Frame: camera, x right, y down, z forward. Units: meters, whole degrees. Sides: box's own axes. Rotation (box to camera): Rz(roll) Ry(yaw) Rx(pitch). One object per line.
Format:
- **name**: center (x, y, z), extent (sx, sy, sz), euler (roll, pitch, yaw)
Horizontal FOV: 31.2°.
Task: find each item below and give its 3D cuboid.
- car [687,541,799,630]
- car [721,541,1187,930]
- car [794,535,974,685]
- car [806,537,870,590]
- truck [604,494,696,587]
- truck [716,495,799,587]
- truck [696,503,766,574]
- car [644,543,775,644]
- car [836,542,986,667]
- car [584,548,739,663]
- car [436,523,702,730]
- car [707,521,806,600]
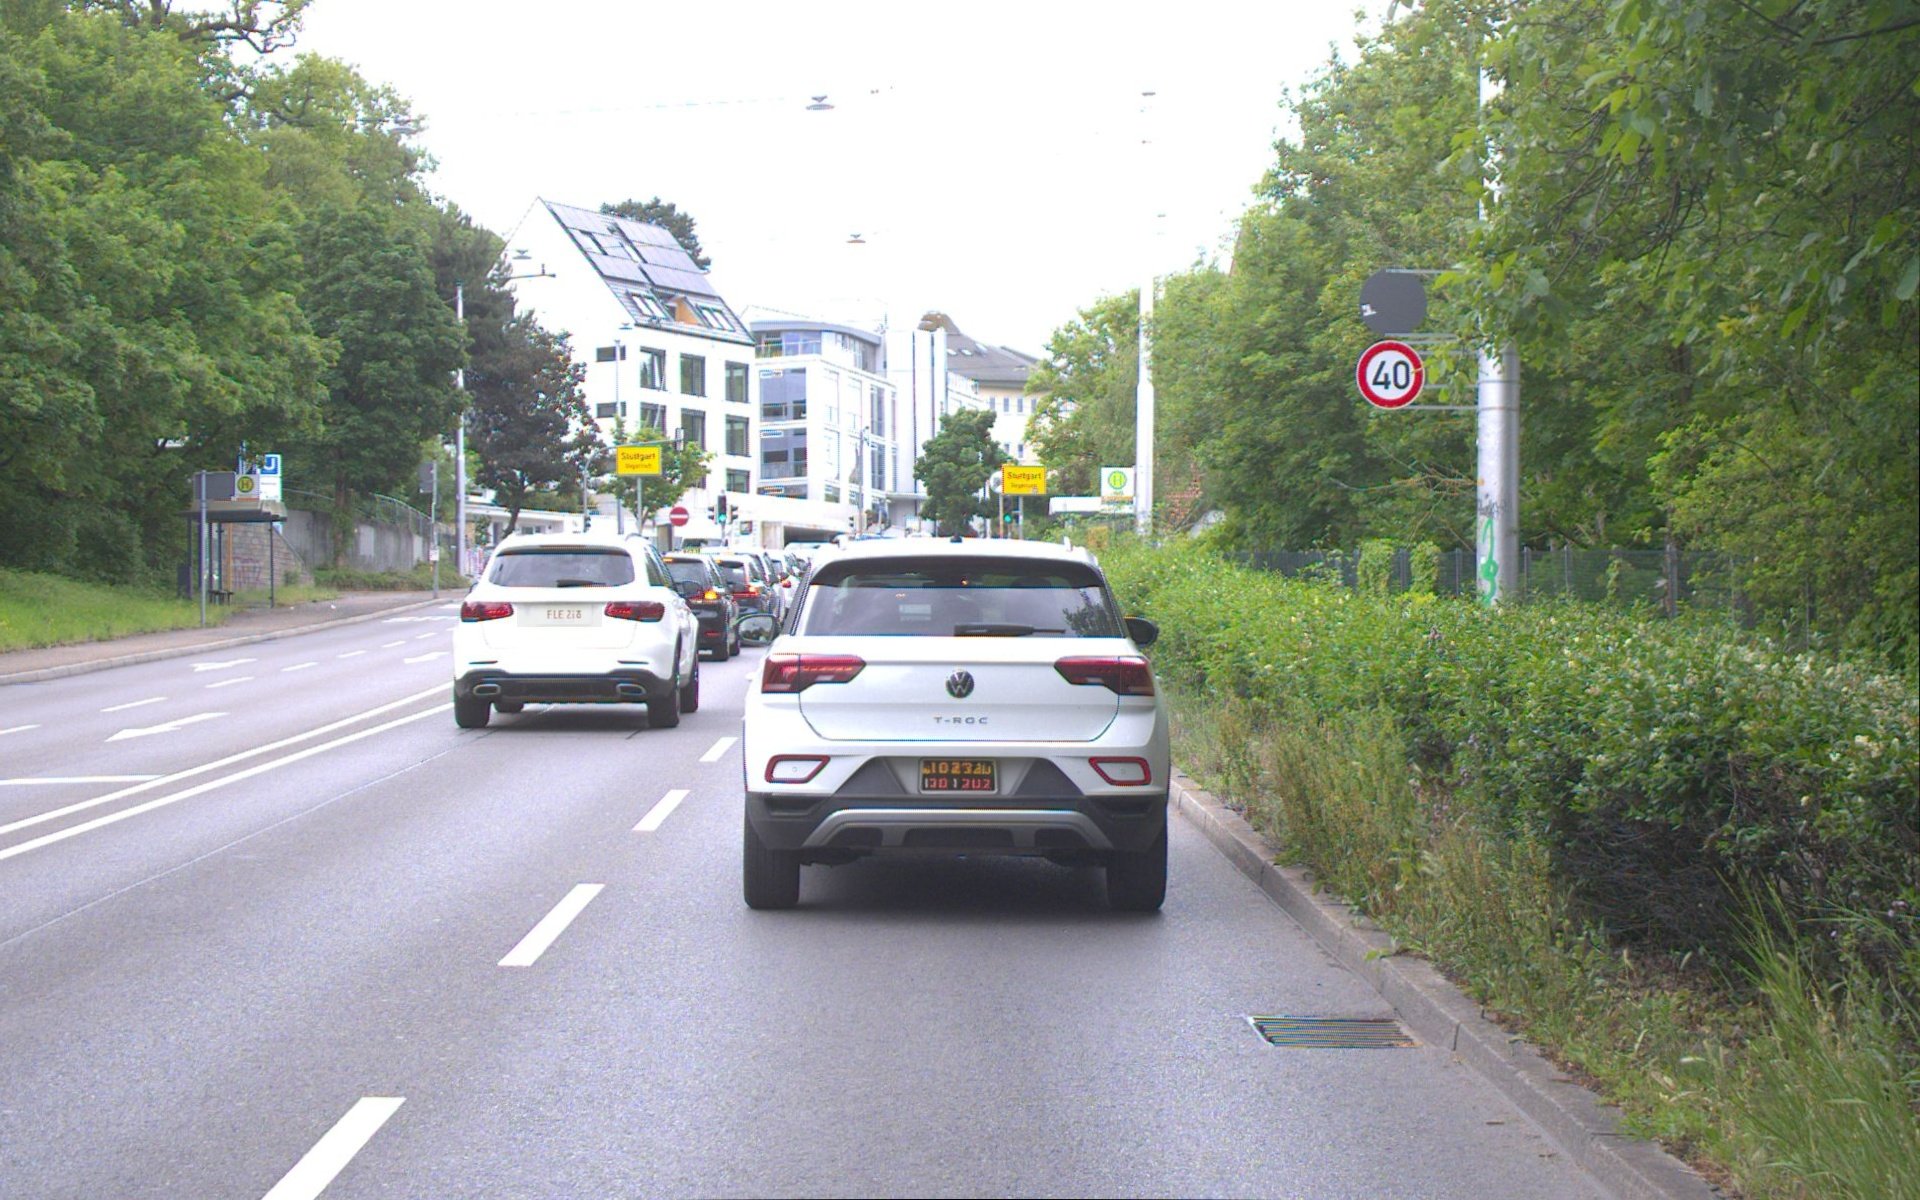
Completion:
- **car**: center (-3.892, -0.281, 62.197), extent (1.829, 1.520, 4.000), euler (-1, 1, -1)
- **car**: center (-0.057, 0.505, 15.583), extent (1.829, 1.520, 4.000), euler (0, 1, -1)
- **car**: center (-0.821, 0.075, 37.541), extent (1.829, 1.520, 4.000), euler (-1, 1, -1)
- **car**: center (-3.666, -1.111, 103.613), extent (1.829, 1.520, 4.000), euler (-1, 1, -1)
- **truck**: center (-9.372, -1.800, 104.213), extent (2.362, 2.697, 4.478), euler (-2, 1, -1)
- **truck**: center (-6.388, -1.862, 108.758), extent (2.362, 2.772, 4.478), euler (-2, 1, -1)
- **truck**: center (-10.207, -2.712, 153.745), extent (2.293, 3.040, 6.979), euler (-1, 1, 2)
- **car**: center (-3.952, -0.128, 54.724), extent (1.829, 1.520, 4.000), euler (-1, 1, -1)
- **car**: center (-0.645, 0.022, 44.844), extent (1.829, 1.520, 4.000), euler (-1, 1, -1)
- **car**: center (-4.070, 0.043, 47.349), extent (1.829, 1.492, 4.000), euler (-1, 1, -1)
- **car**: center (-3.321, 0.187, 29.885), extent (1.918, 1.664, 4.000), euler (0, 1, -1)
- **car**: center (-4.106, -0.808, 69.874), extent (1.829, 1.520, 4.000), euler (-1, 1, -1)
